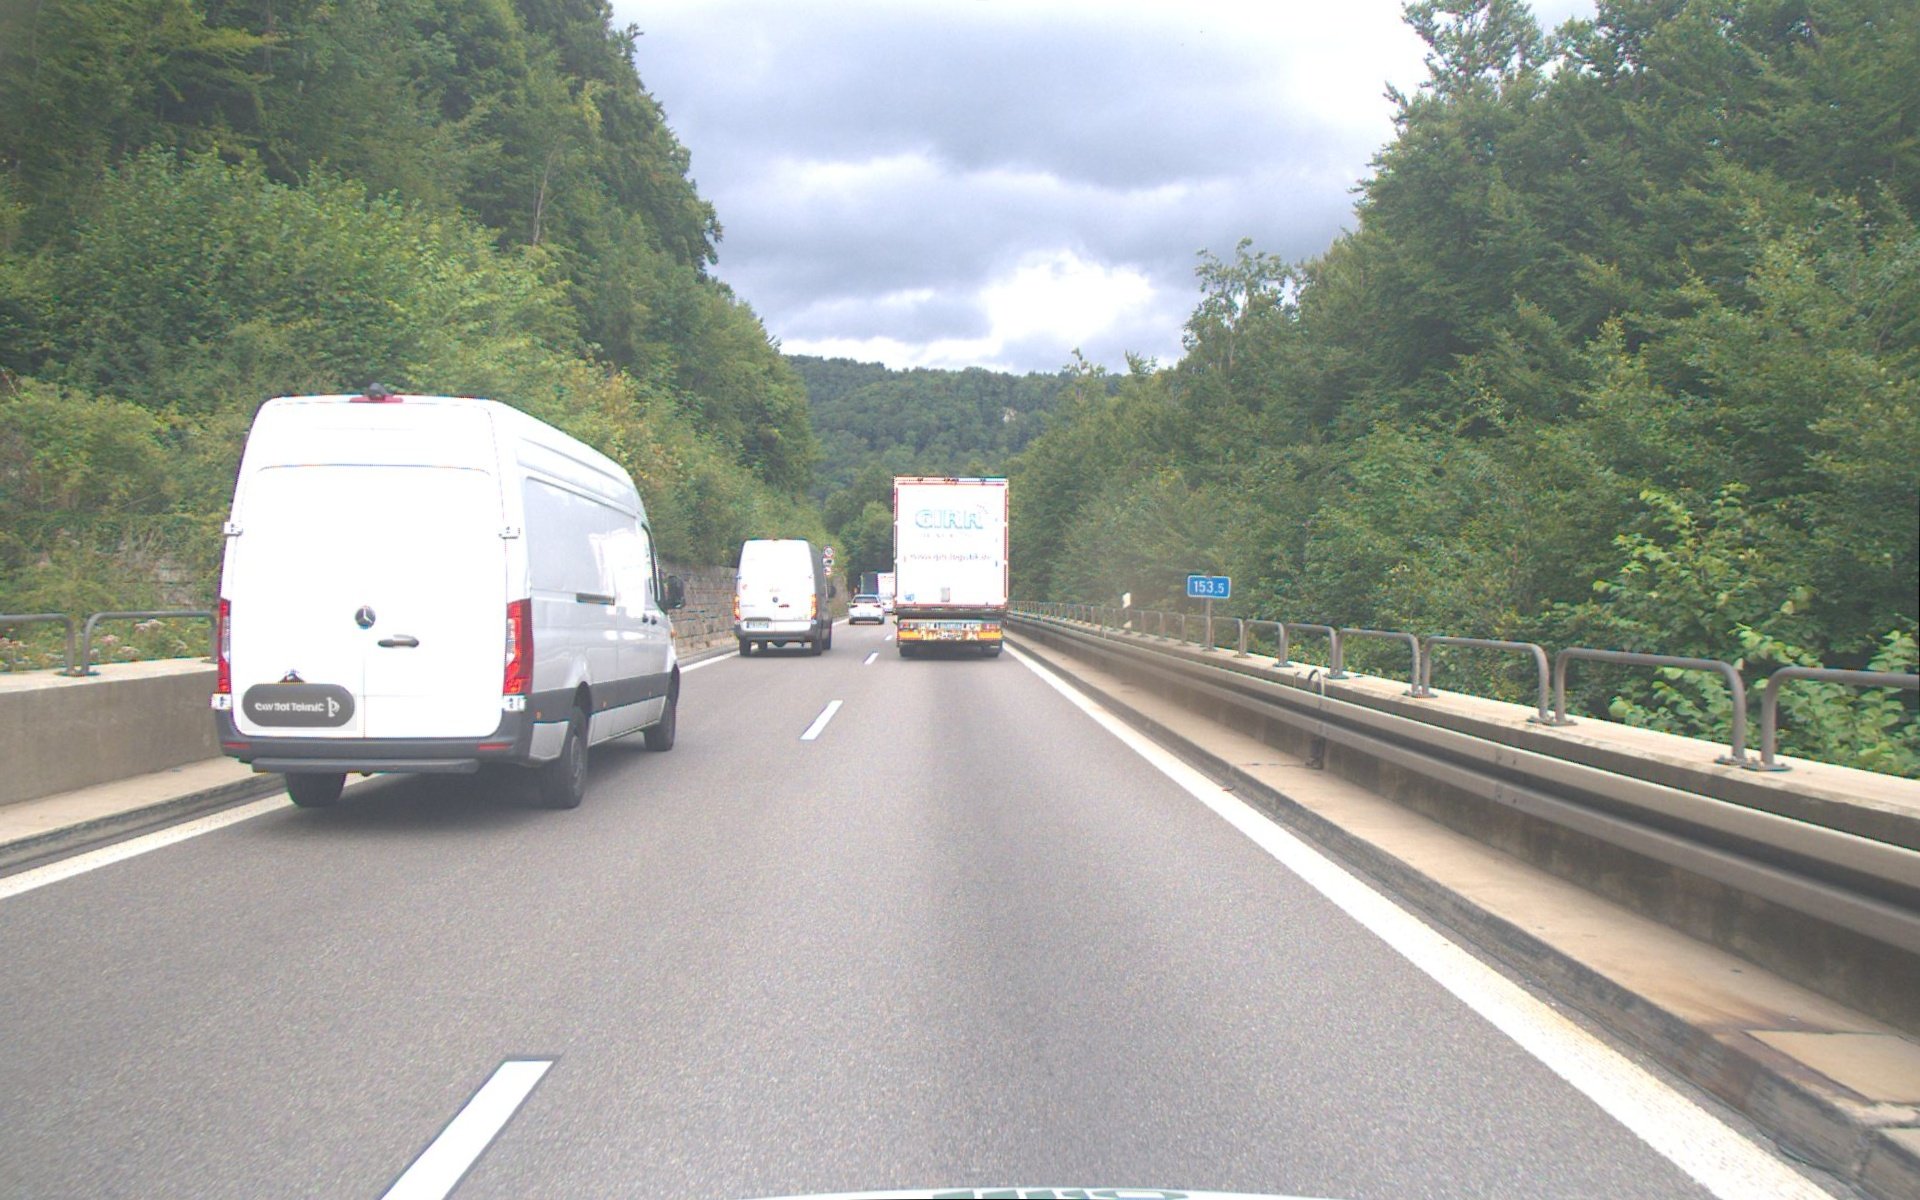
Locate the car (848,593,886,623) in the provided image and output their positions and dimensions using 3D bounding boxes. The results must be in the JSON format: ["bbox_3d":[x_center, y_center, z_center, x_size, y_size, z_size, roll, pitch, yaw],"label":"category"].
[{"bbox_3d":[-4.655,0.385,83.246,1.697,1.446,3.999,1,0,-1],"label":"car"}]

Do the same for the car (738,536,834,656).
[{"bbox_3d":[-4.171,-0.107,40.521,1.900,2.719,5.989,0,0,-2],"label":"car"}]

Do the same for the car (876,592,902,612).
[{"bbox_3d":[-5.088,0.135,118.957,1.696,1.446,4.000,1,0,0],"label":"car"}]

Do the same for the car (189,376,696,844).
[{"bbox_3d":[-3.561,0.034,13.093,1.948,2.719,6.934,0,0,-1],"label":"car"}]

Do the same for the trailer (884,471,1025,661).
[{"bbox_3d":[-0.204,-0.901,41.873,2.995,4.055,12.136,1,2,-1],"label":"trailer"}]
